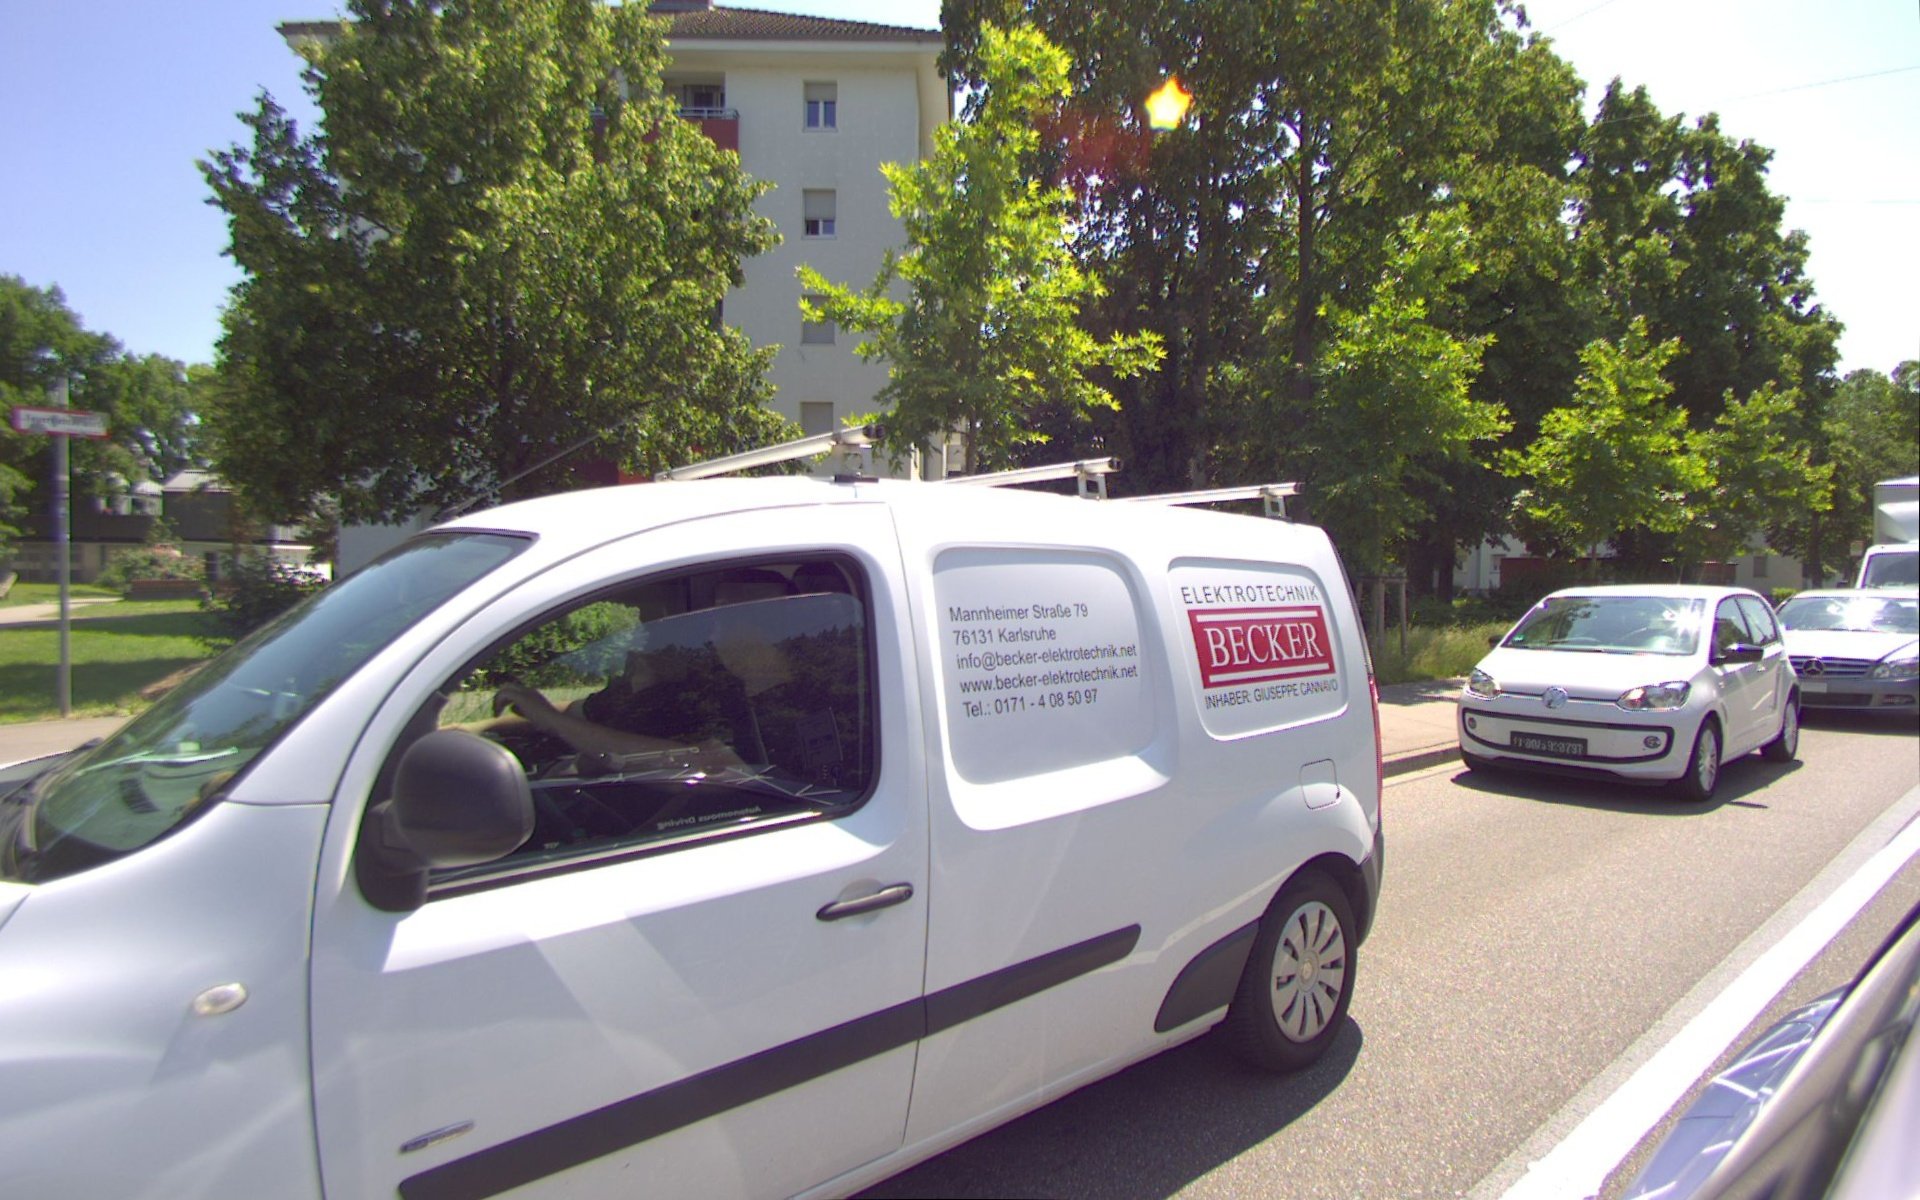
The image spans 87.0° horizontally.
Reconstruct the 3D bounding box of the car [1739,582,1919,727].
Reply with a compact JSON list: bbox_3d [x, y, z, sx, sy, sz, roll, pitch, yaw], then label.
[{"bbox_3d":[10.489,0.498,11.588,4.041,1.398,1.618,-1,1,-39],"label":"car"}]

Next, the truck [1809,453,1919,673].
[{"bbox_3d":[17.140,-0.605,17.404,6.483,3.337,2.491,-1,2,-37],"label":"truck"}]

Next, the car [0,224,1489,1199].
[{"bbox_3d":[-0.457,0.470,2.948,4.993,1.879,1.808,-1,1,-40],"label":"car"}]

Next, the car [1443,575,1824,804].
[{"bbox_3d":[5.528,0.541,8.175,3.436,1.459,1.626,-1,1,-39],"label":"car"}]
